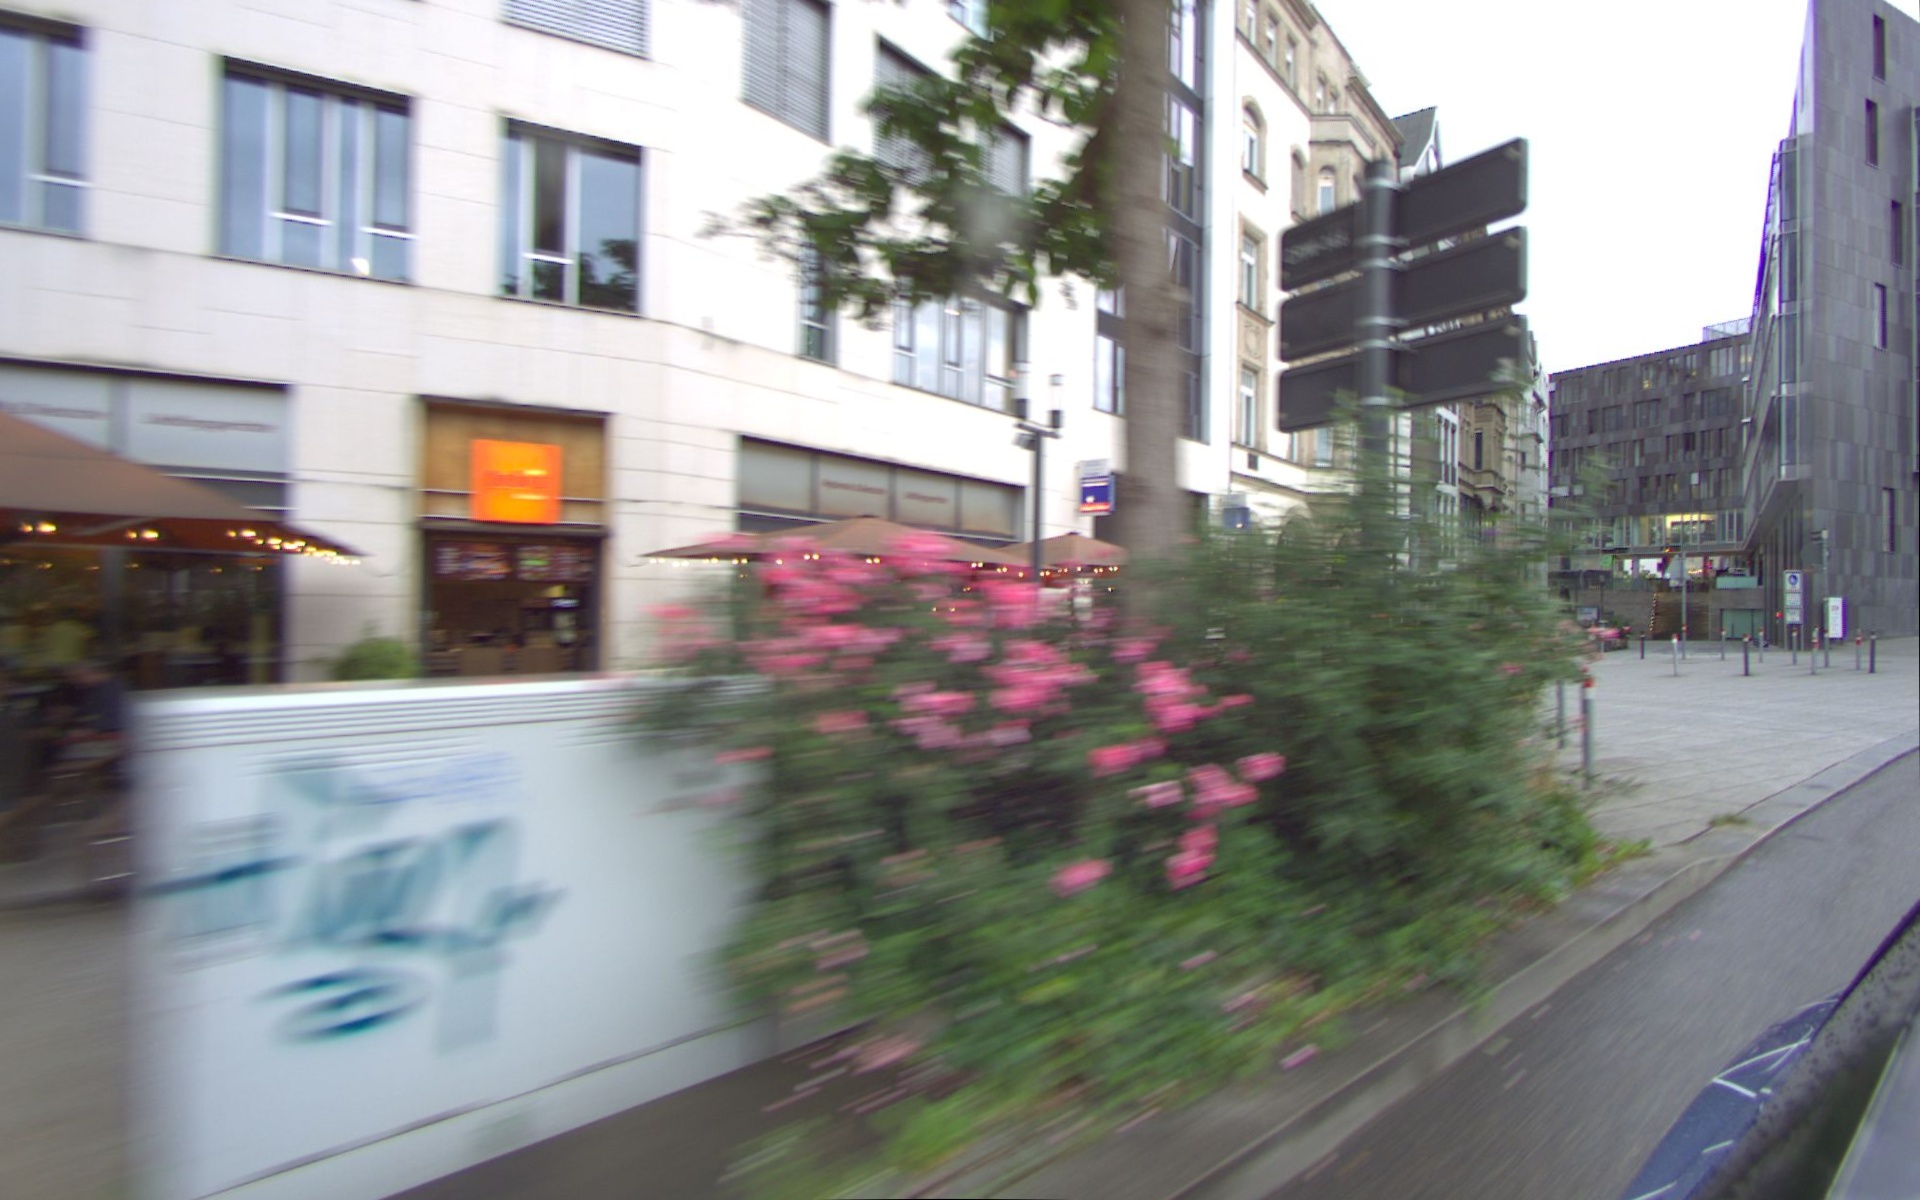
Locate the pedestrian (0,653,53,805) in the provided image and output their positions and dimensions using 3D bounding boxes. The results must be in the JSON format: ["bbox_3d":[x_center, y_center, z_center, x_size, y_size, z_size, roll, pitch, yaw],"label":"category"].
[{"bbox_3d":[-8.947,1.182,9.387,0.623,1.343,0.820,-1,-2,-30],"label":"pedestrian"}]

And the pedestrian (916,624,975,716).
[{"bbox_3d":[-0.223,1.058,15.491,0.626,1.343,0.626,-3,-3,40],"label":"pedestrian"}]

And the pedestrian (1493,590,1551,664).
[{"bbox_3d":[14.692,0.701,26.462,1.227,1.861,0.873,-1,-2,-40],"label":"pedestrian"}]

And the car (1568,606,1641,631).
[{"bbox_3d":[43.834,1.243,68.926,4.034,1.639,1.686,-2,-1,30],"label":"car"}]

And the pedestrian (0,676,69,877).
[{"bbox_3d":[-6.896,1.241,7.234,0.623,1.343,0.820,-1,-2,-29],"label":"pedestrian"}]

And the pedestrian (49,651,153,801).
[{"bbox_3d":[-8.306,1.184,9.817,0.623,1.343,0.820,-1,-2,-29],"label":"pedestrian"}]

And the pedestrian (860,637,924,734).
[{"bbox_3d":[-0.977,1.212,14.588,0.626,1.343,0.626,-3,-3,40],"label":"pedestrian"}]
